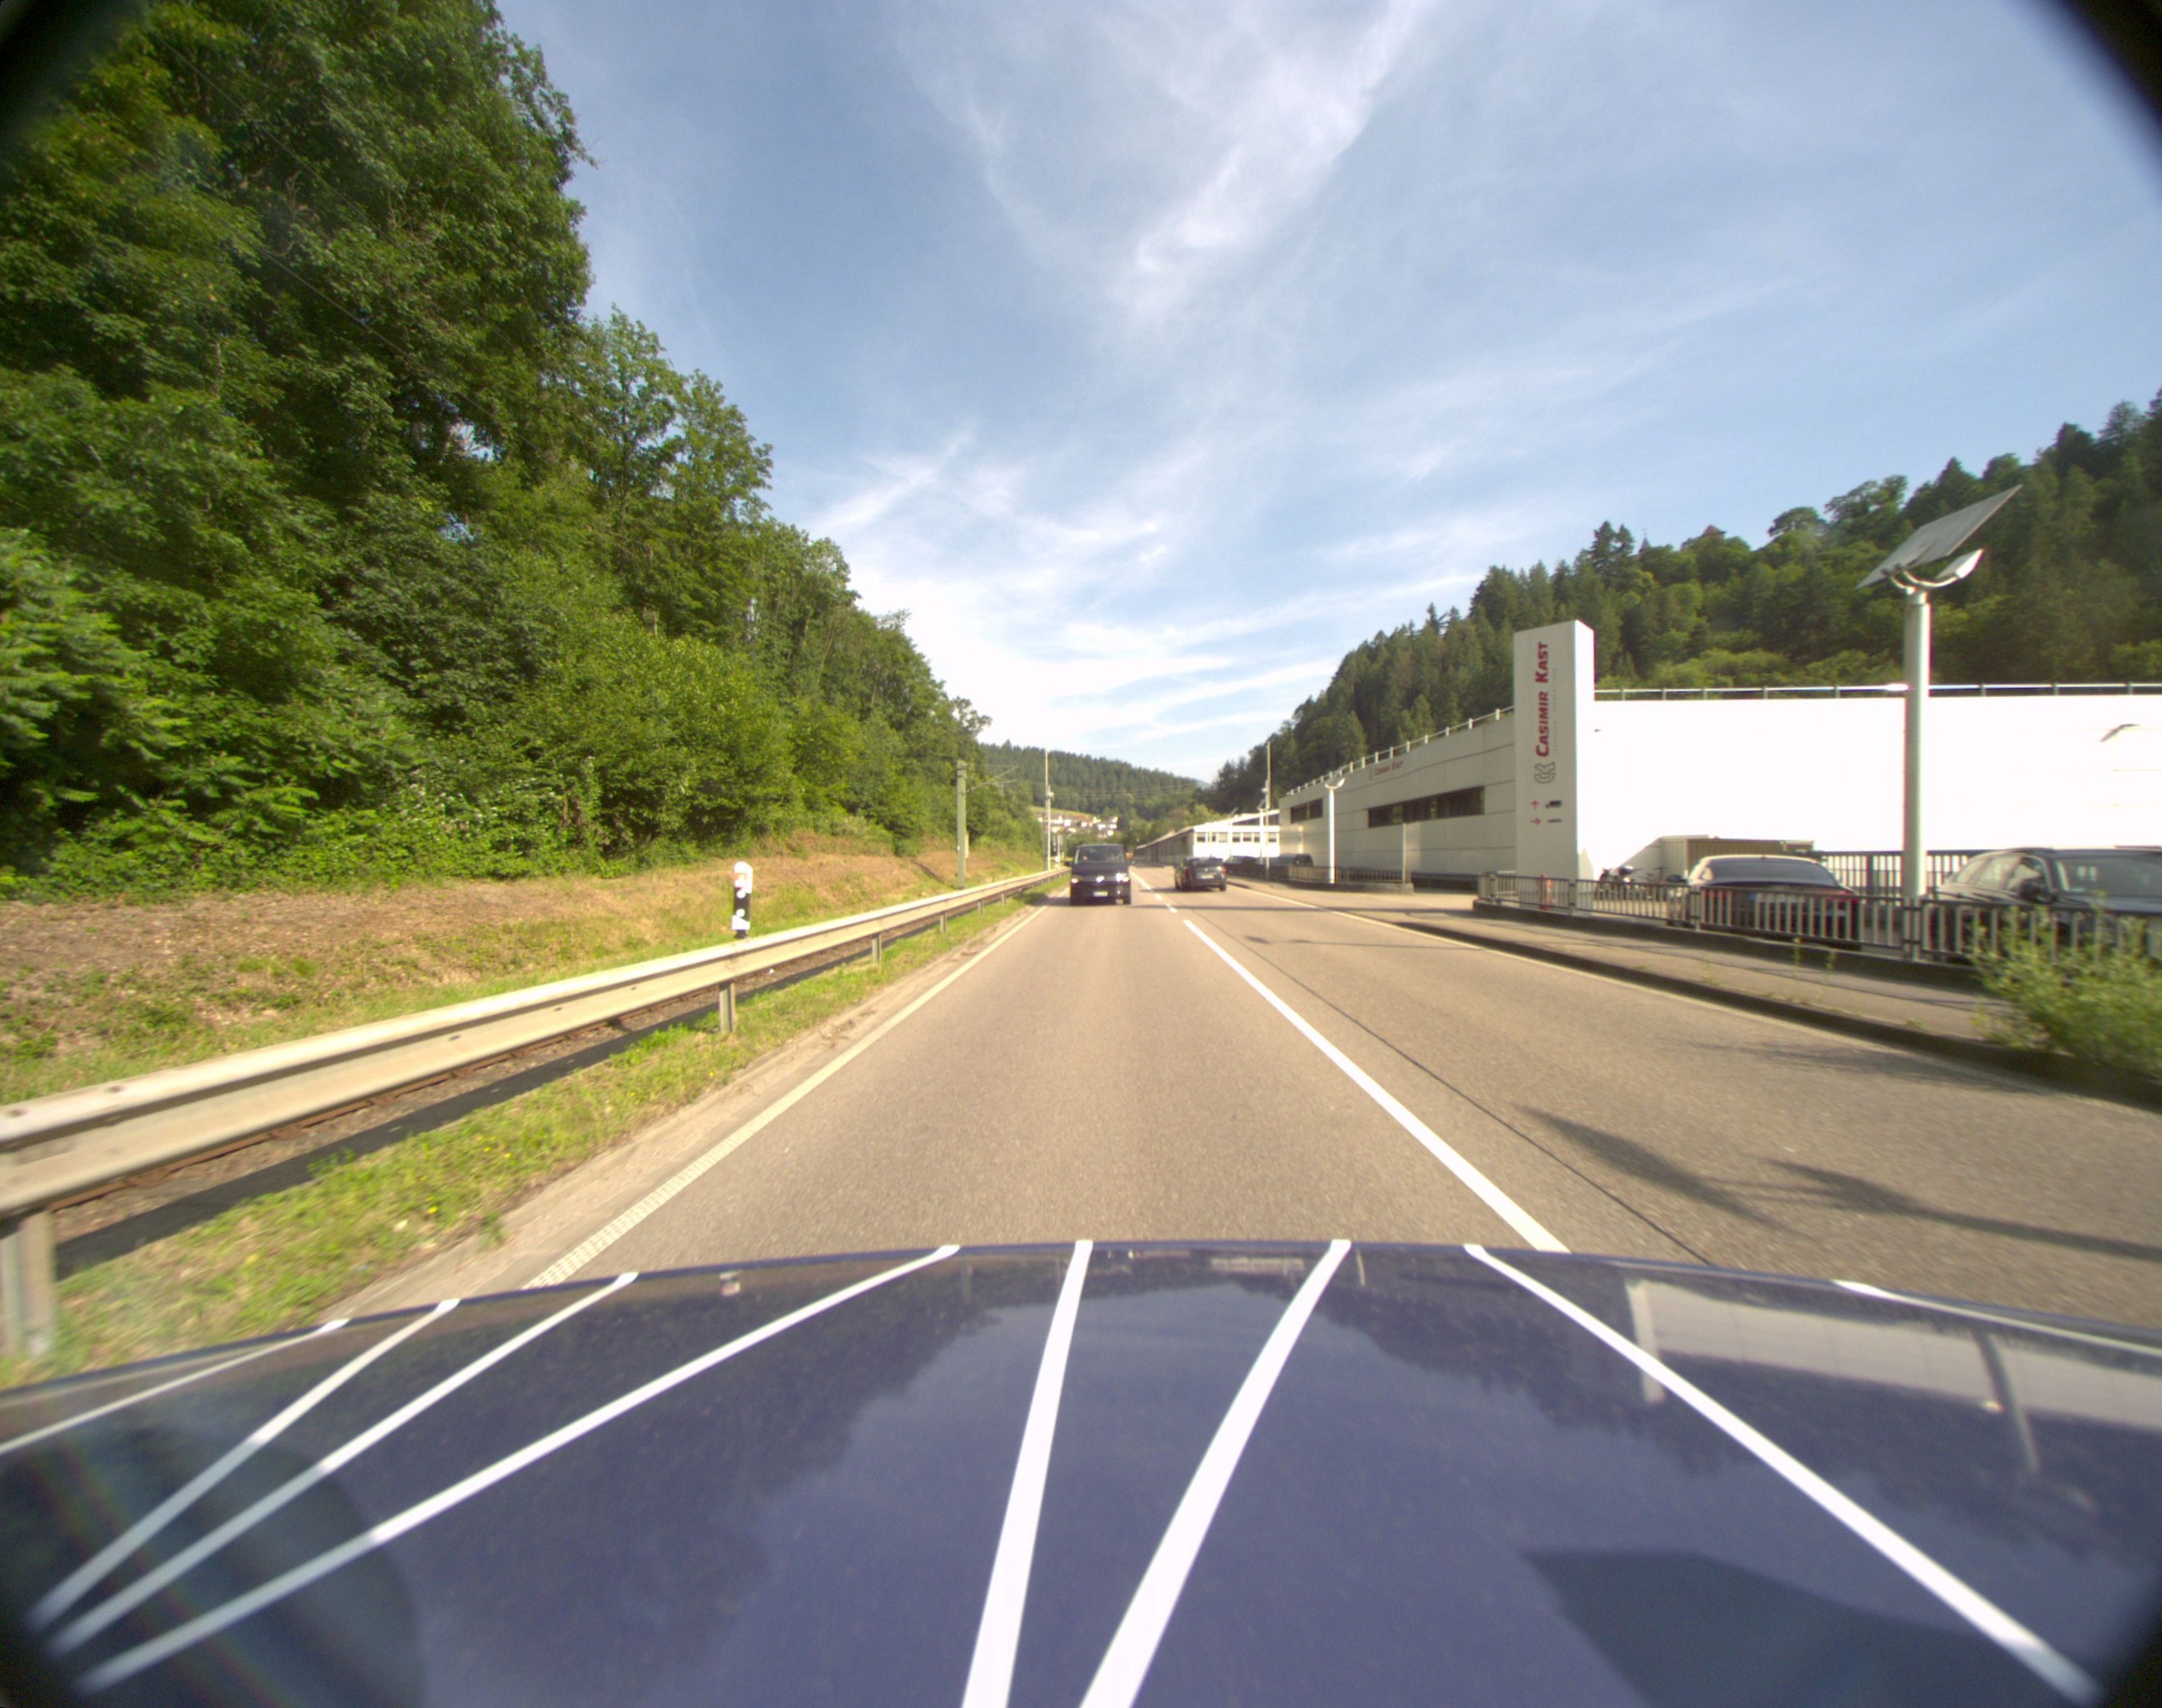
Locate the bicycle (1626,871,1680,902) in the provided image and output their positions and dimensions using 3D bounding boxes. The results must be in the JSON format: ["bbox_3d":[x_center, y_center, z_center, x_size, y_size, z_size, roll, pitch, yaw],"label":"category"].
[{"bbox_3d":[19.992,1.121,26.618,0.513,0.984,1.911,1,0,3],"label":"bicycle"}]

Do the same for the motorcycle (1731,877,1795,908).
[{"bbox_3d":[22.933,1.282,25.600,0.515,0.927,1.928,0,0,3],"label":"motorcycle"}]

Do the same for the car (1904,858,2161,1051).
[{"bbox_3d":[10.089,0.776,7.382,1.707,1.430,4.744,0,0,33],"label":"car"}]

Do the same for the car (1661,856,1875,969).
[{"bbox_3d":[10.306,0.721,11.775,1.707,1.367,4.744,0,0,33],"label":"car"}]

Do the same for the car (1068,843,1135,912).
[{"bbox_3d":[0.569,0.672,24.328,1.900,1.927,5.188,-1,0,0],"label":"car"}]

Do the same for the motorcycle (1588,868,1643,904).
[{"bbox_3d":[18.478,1.081,26.329,0.513,1.146,2.089,1,0,3],"label":"motorcycle"}]

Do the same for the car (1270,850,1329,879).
[{"bbox_3d":[13.725,0.635,47.554,1.776,1.698,4.119,0,0,44],"label":"car"}]

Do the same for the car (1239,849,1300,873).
[{"bbox_3d":[12.562,0.436,50.450,1.883,1.486,4.498,-1,0,44],"label":"car"}]

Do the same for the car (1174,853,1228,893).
[{"bbox_3d":[4.933,0.746,31.611,1.681,1.477,4.246,-3,0,2],"label":"car"}]
